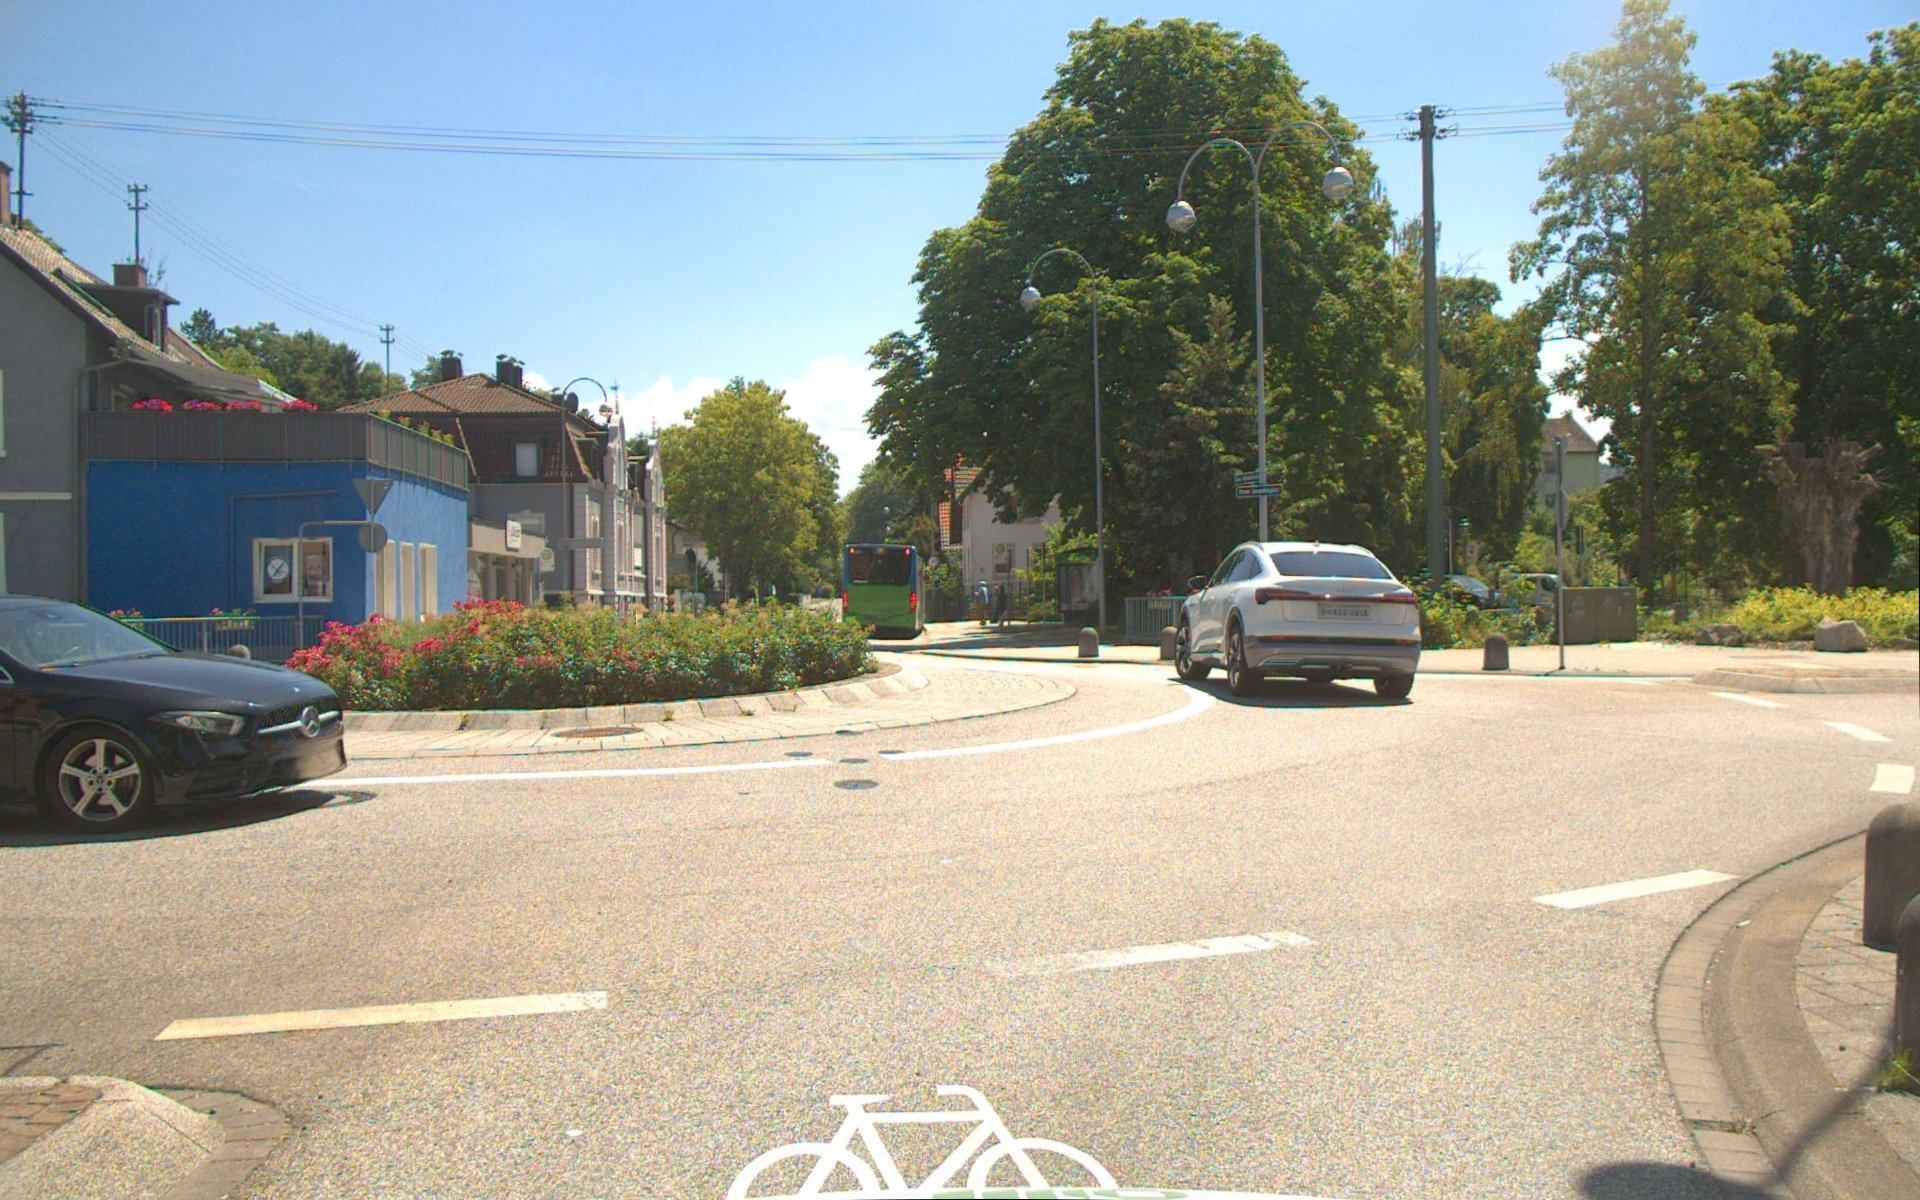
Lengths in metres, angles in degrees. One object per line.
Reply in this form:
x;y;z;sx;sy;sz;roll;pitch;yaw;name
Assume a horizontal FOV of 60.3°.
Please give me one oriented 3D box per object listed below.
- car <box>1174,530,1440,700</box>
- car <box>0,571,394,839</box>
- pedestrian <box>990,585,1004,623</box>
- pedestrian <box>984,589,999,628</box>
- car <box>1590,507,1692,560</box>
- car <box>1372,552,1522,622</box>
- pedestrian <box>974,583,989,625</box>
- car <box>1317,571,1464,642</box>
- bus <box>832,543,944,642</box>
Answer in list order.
3.760;0.129;18.760;1.861;1.691;4.406;0;0;-4;car
-6.109;0.629;10.559;4.330;1.482;1.770;-1;2;6;car
1.523;0.180;68.316;0.479;1.548;0.541;-1;0;-8;pedestrian
1.206;0.326;62.831;0.480;1.479;0.529;-1;0;-8;pedestrian
28.753;-2.781;69.887;3.906;2.049;1.999;-1;0;24;car
14.882;-0.391;50.651;1.984;2.049;3.938;-1;0;-42;car
0.845;0.148;65.906;0.493;1.679;0.578;-1;0;-8;pedestrian
10.281;0.149;39.584;3.000;1.580;1.627;-2;0;-16;car
-2.535;-0.222;63.274;3.631;3.227;18.064;1;0;-1;bus
